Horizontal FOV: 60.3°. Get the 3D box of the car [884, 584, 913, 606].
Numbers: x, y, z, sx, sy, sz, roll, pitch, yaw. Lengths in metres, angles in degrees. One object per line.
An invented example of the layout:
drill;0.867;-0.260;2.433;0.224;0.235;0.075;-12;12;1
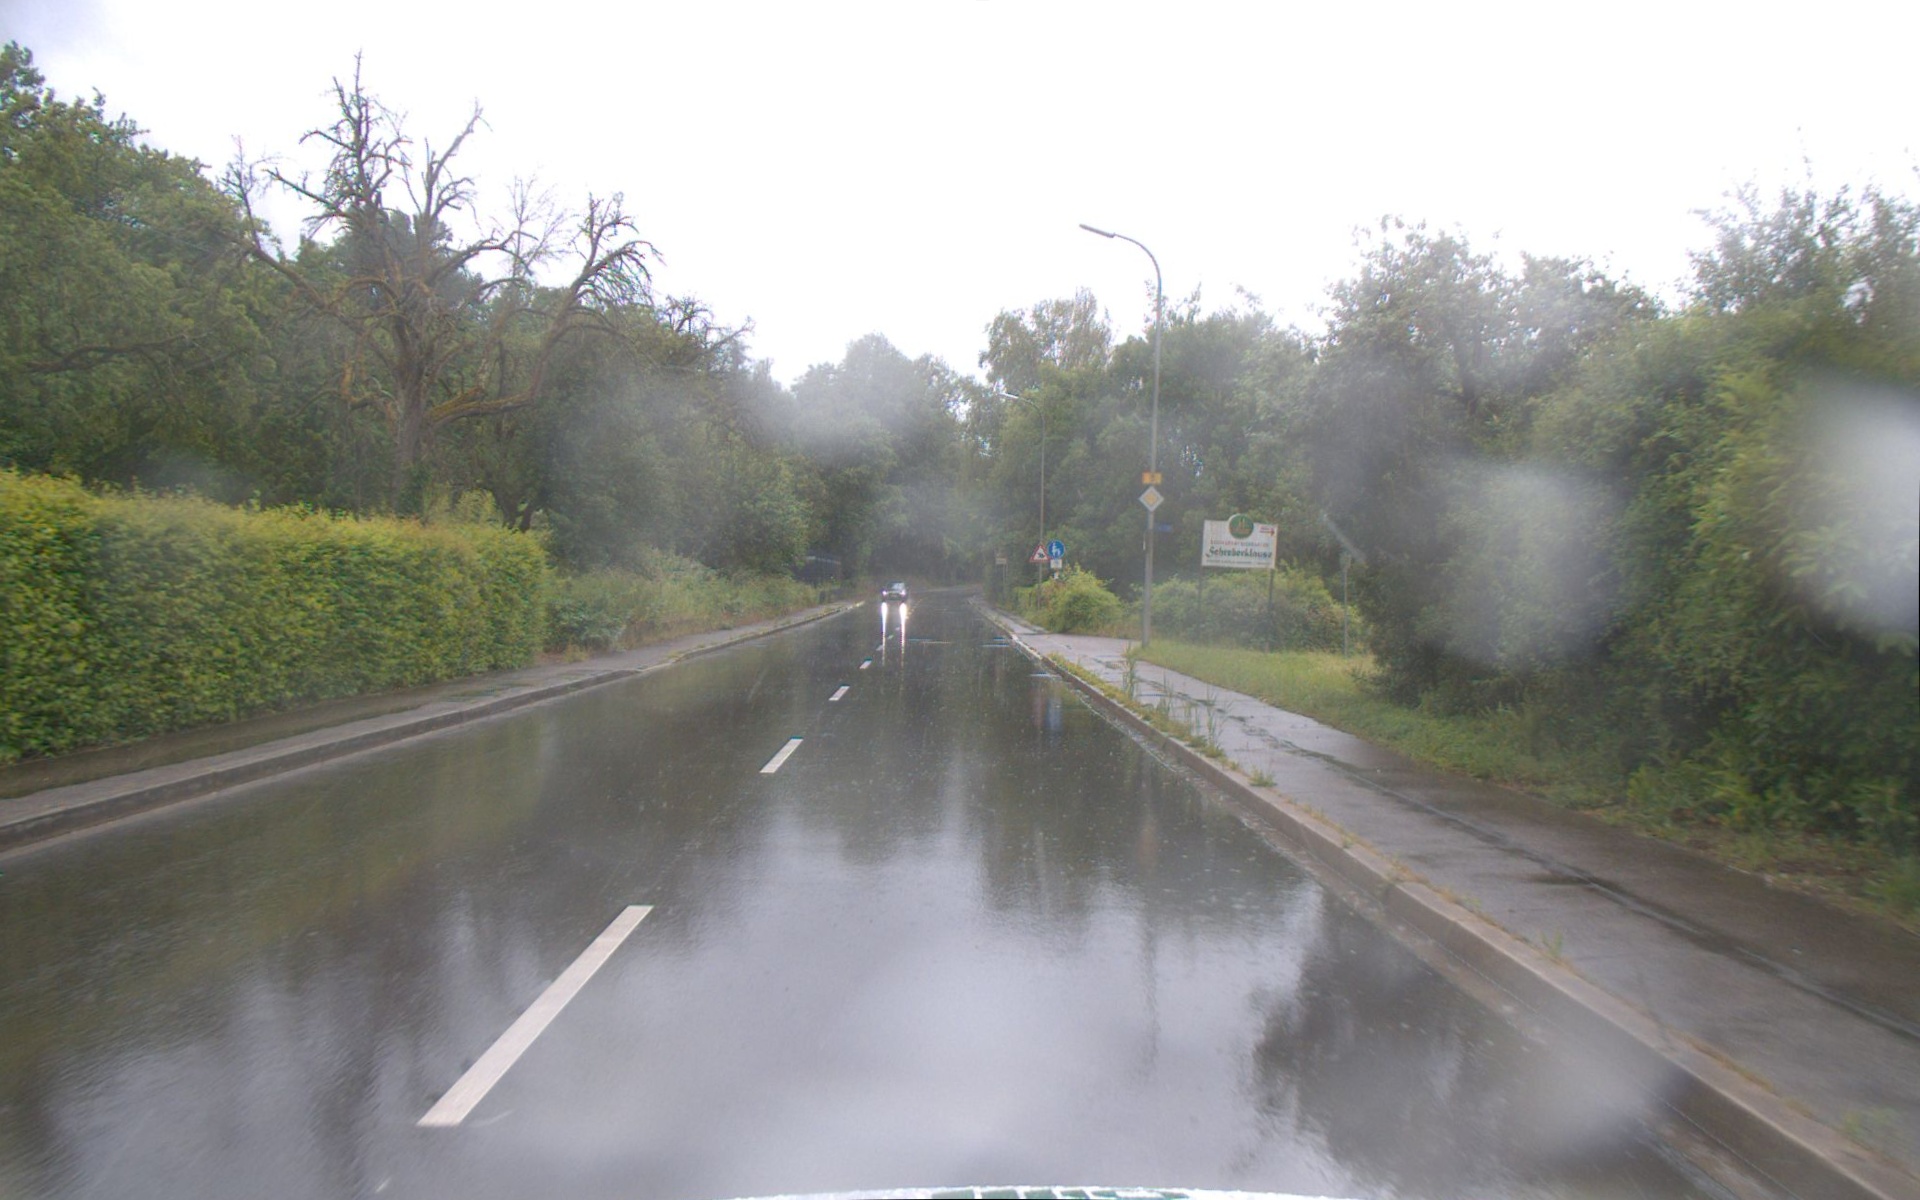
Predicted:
car;-4.526;-0.394;122.362;1.953;1.479;4.427;1;1;-1
